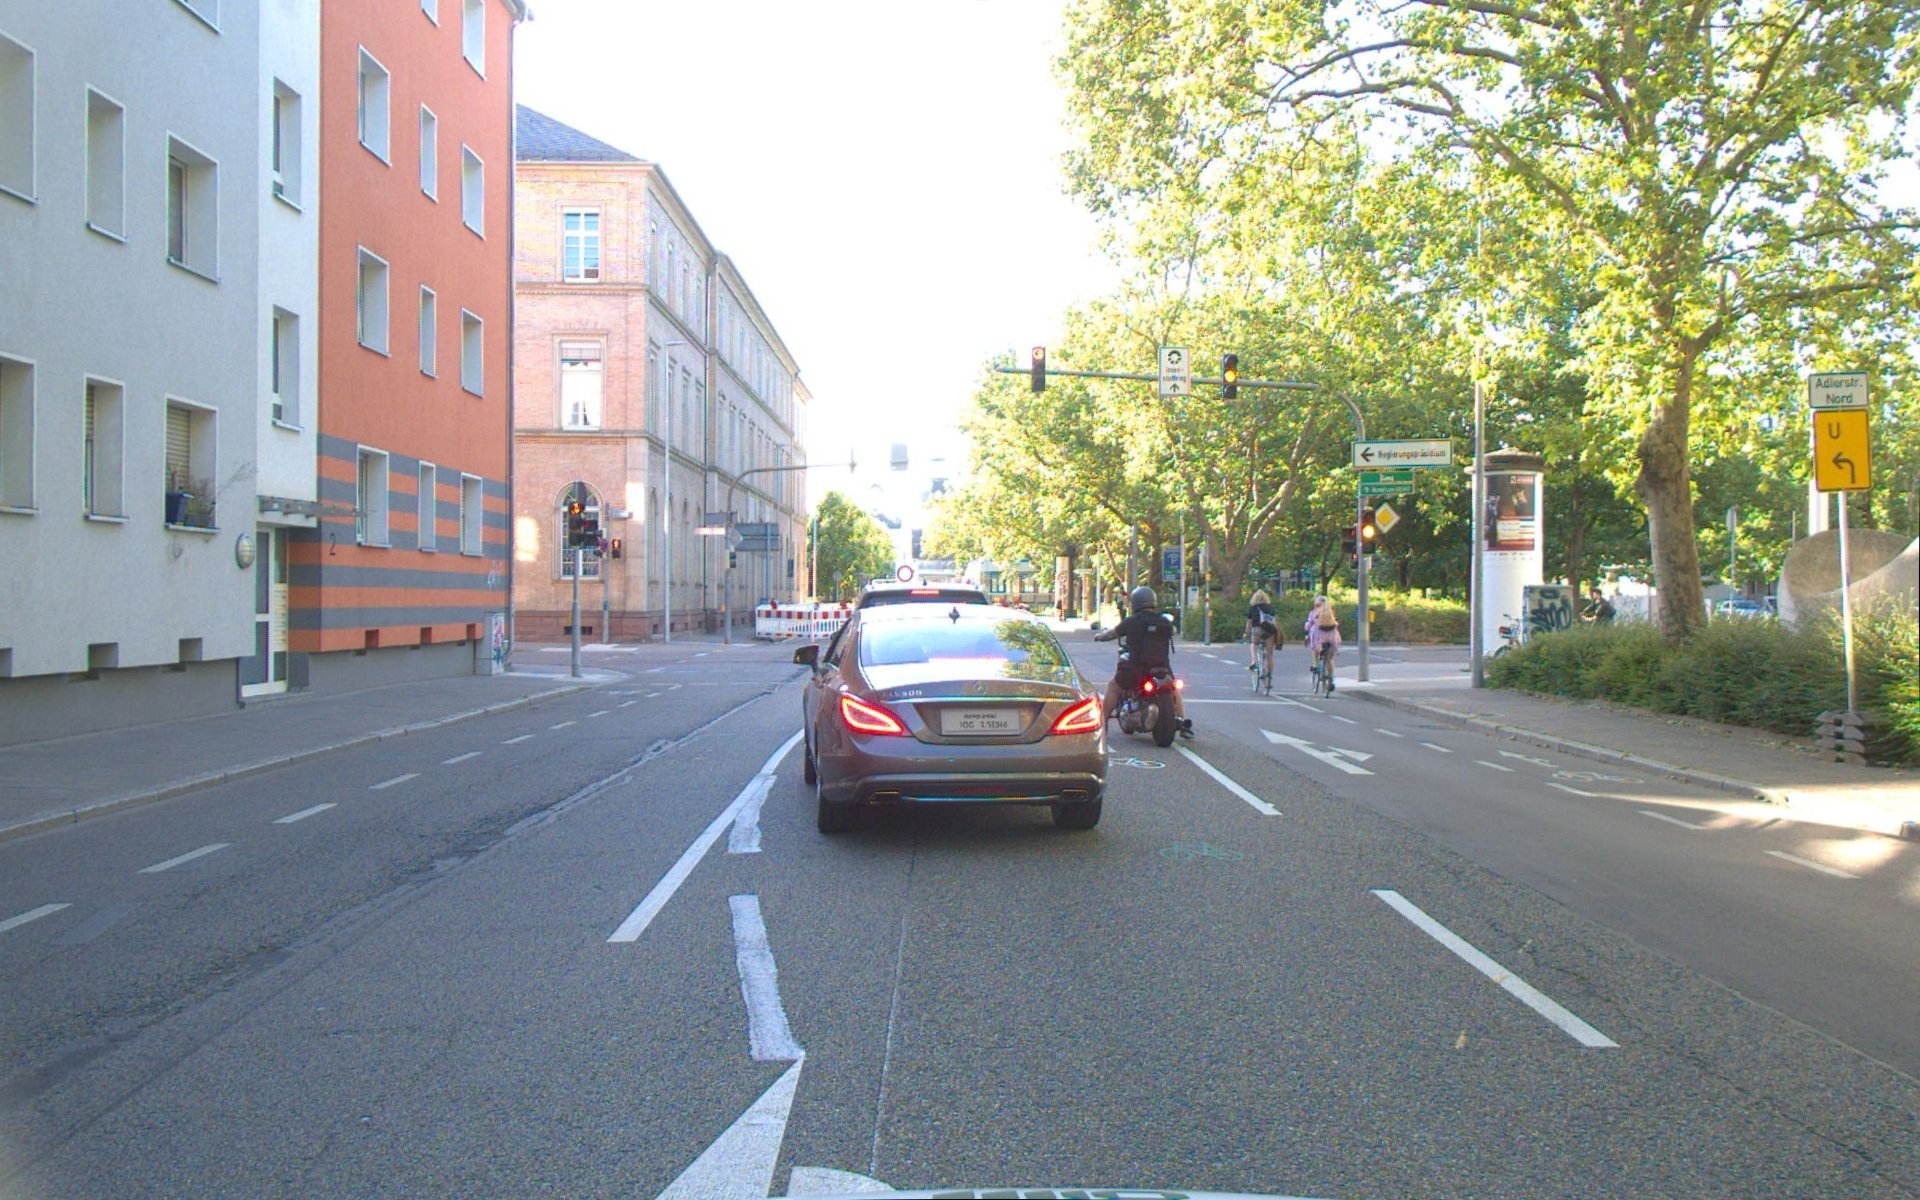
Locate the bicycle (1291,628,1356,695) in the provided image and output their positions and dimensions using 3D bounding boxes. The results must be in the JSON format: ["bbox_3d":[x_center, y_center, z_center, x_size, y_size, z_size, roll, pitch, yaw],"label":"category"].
[{"bbox_3d":[5.926,0.988,27.049,0.588,1.002,1.881,2,0,-1],"label":"bicycle"}]

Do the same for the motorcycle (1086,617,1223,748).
[{"bbox_3d":[2.002,0.817,17.448,0.987,1.225,2.663,0,0,-3],"label":"motorcycle"}]

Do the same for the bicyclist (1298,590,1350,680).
[{"bbox_3d":[5.947,0.563,27.068,0.588,1.426,0.931,2,0,-1],"label":"bicyclist"}]

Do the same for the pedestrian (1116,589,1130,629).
[{"bbox_3d":[7.148,0.391,72.329,0.548,1.707,0.564,0,0,-1],"label":"pedestrian"}]

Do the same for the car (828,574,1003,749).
[{"bbox_3d":[-0.484,0.582,17.562,1.647,1.653,3.839,0,0,-2],"label":"car"}]

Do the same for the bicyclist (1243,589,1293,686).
[{"bbox_3d":[5.053,0.604,27.159,0.598,1.542,0.889,2,0,-1],"label":"bicyclist"}]

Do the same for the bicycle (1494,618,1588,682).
[{"bbox_3d":[9.698,0.830,27.606,1.387,1.055,0.538,0,0,-5],"label":"bicycle"}]

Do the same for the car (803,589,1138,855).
[{"bbox_3d":[-0.131,0.686,11.634,1.787,1.502,4.346,0,0,-7],"label":"car"}]

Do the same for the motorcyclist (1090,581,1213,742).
[{"bbox_3d":[2.001,0.622,17.472,1.091,1.641,1.201,0,0,-4],"label":"motorcyclist"}]

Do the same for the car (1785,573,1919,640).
[{"bbox_3d":[25.617,0.182,46.434,3.912,1.815,2.001,0,0,4],"label":"car"}]

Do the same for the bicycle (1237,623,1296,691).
[{"bbox_3d":[5.038,0.924,27.302,0.598,1.044,1.731,2,0,-1],"label":"bicycle"}]

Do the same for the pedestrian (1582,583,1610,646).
[{"bbox_3d":[18.653,0.419,48.510,0.607,1.815,0.630,0,0,1],"label":"pedestrian"}]
